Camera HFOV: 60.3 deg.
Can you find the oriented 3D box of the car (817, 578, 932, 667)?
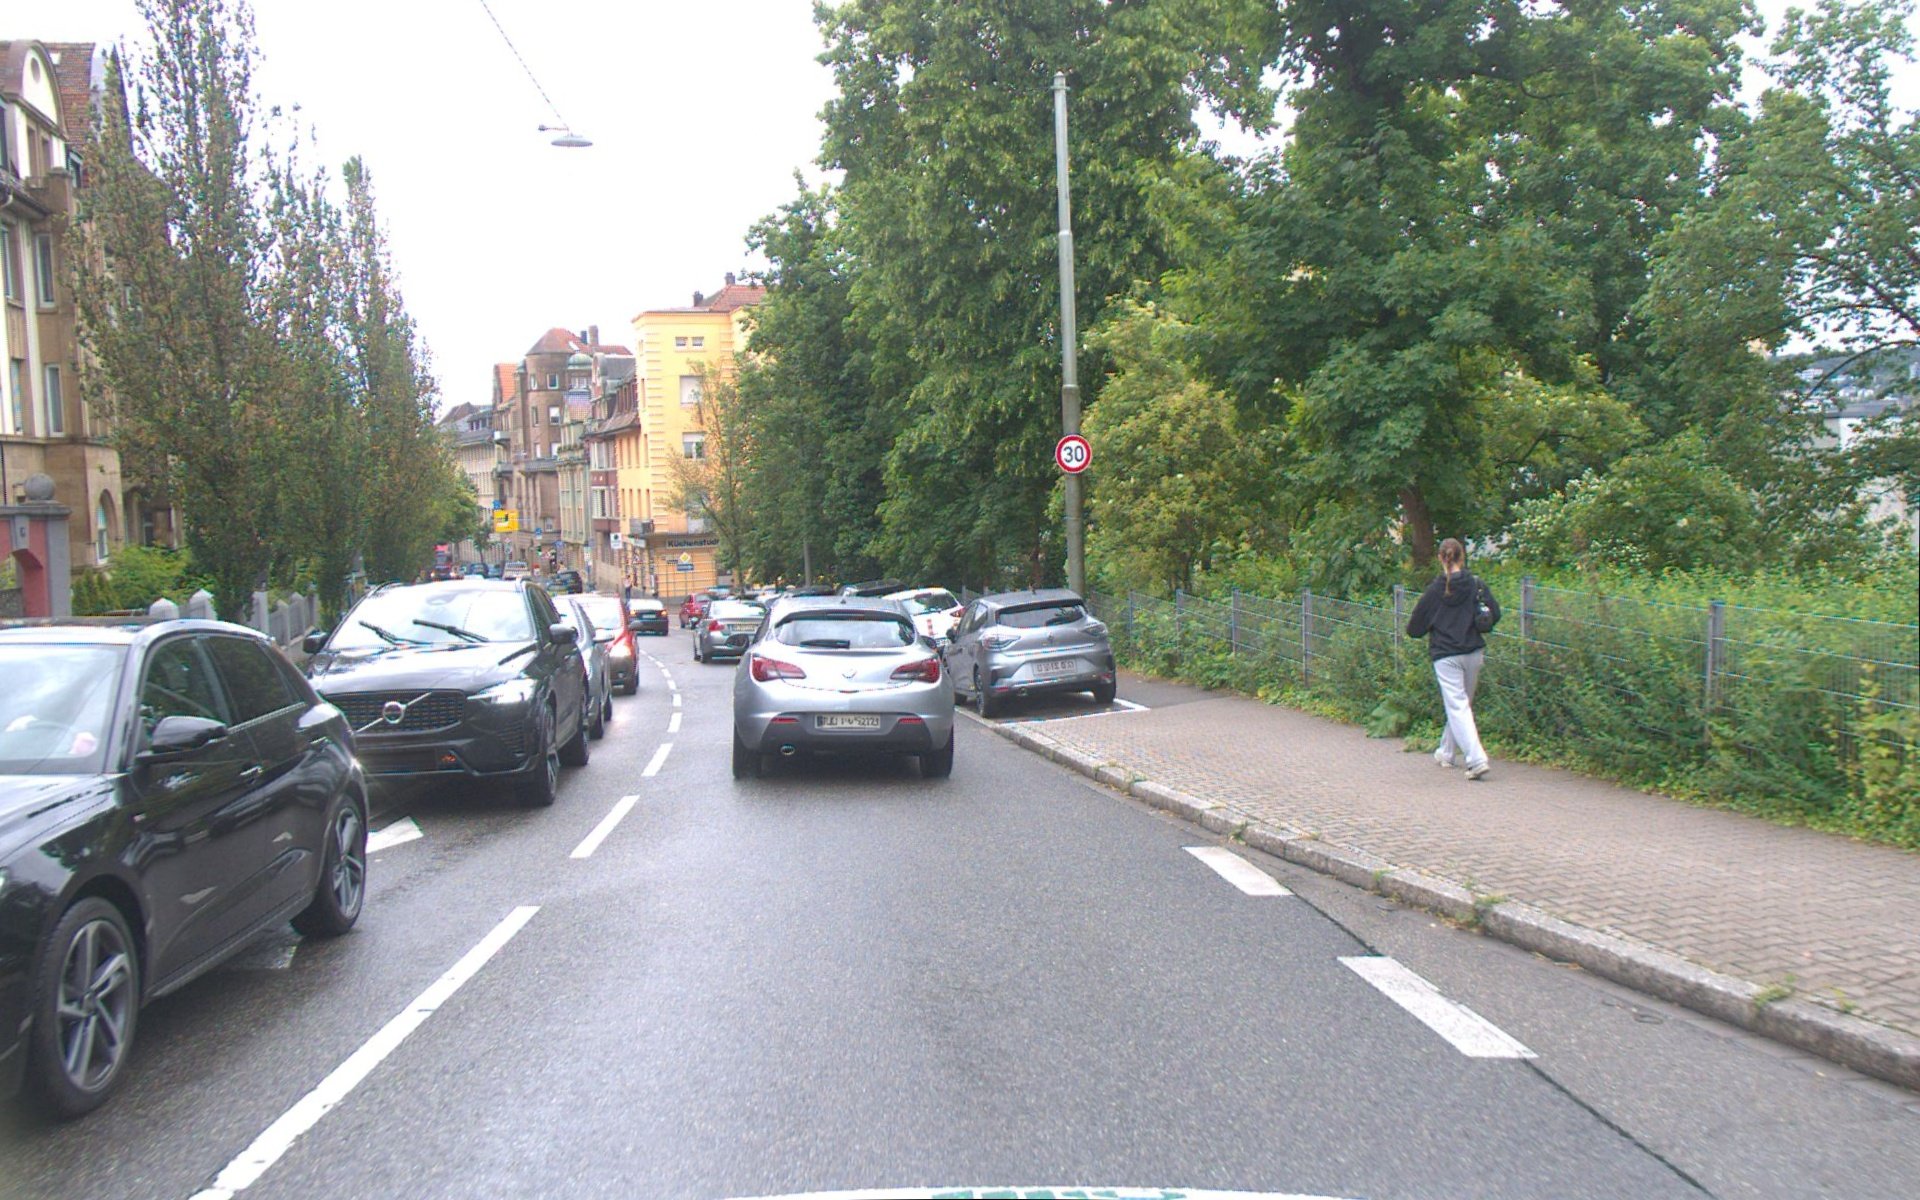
[{"bbox_3d":[-1.988,0.455,37.020,1.789,1.712,4.790,-5,1,-11],"label":"car"}]

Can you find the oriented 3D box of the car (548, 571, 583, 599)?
[{"bbox_3d":[-28.403,-1.081,119.095,1.965,1.717,3.980,-8,2,-18],"label":"car"}]

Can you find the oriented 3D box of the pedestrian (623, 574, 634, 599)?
[{"bbox_3d":[-20.803,-0.846,103.712,0.603,1.522,0.550,-2,3,-16],"label":"pedestrian"}]

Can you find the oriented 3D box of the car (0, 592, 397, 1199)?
[{"bbox_3d":[-3.376,0.756,5.705,1.780,1.454,3.995,-3,1,-6],"label":"car"}]

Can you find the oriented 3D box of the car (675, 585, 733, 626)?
[{"bbox_3d":[-11.026,0.243,71.088,1.787,1.492,3.981,-7,2,-17],"label":"car"}]

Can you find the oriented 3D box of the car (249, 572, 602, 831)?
[{"bbox_3d":[-3.956,0.633,13.038,1.840,1.602,4.577,-2,1,-8],"label":"car"}]

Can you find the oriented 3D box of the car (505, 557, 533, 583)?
[{"bbox_3d":[-35.017,-2.382,131.291,1.755,1.887,3.977,-2,0,-20],"label":"car"}]

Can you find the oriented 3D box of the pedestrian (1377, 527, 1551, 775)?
[{"bbox_3d":[3.571,0.339,11.783,0.751,1.633,0.964,-5,1,-7],"label":"pedestrian"}]

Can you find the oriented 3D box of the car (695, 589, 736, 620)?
[{"bbox_3d":[-12.985,0.206,88.101,1.740,1.454,3.784,-1,2,-3],"label":"car"}]

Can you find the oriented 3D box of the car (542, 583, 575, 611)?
[{"bbox_3d":[-24.143,-0.167,99.411,1.614,1.563,3.699,-3,1,-17],"label":"car"}]

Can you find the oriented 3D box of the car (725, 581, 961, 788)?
[{"bbox_3d":[-1.039,0.628,14.782,1.779,1.454,3.997,-2,2,-4],"label":"car"}]

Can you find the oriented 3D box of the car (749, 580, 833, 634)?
[{"bbox_3d":[-5.414,0.242,52.574,1.944,1.477,4.097,-5,1,-15],"label":"car"}]

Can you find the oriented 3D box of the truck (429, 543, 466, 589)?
[{"bbox_3d":[-52.076,-3.506,167.792,2.749,4.203,10.787,-3,4,-20],"label":"truck"}]

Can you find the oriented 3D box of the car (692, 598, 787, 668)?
[{"bbox_3d":[-5.068,0.718,37.624,1.746,1.455,3.772,-2,0,-14],"label":"car"}]

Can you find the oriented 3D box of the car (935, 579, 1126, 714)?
[{"bbox_3d":[0.807,0.535,21.349,1.620,1.428,3.805,-5,1,-9],"label":"car"}]

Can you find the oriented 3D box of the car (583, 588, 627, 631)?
[{"bbox_3d":[-17.291,0.455,80.484,1.615,1.718,3.698,-3,5,-19],"label":"car"}]

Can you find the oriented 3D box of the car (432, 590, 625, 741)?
[{"bbox_3d":[-4.847,0.657,19.071,1.741,1.523,4.253,-1,0,-9],"label":"car"}]

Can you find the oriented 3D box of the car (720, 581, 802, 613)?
[{"bbox_3d":[-9.801,-0.129,81.478,3.717,1.455,1.771,2,-2,-20],"label":"car"}]

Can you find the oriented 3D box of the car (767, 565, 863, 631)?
[{"bbox_3d":[-4.171,-0.037,46.944,1.943,1.637,4.468,-5,1,-14],"label":"car"}]

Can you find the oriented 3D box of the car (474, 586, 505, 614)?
[{"bbox_3d":[-30.309,-0.033,106.647,1.793,1.679,3.983,-4,1,-15],"label":"car"}]

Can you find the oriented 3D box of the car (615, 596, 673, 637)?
[{"bbox_3d":[-12.336,0.617,64.430,1.741,1.439,3.697,-1,1,-19],"label":"car"}]

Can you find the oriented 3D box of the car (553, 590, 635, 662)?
[{"bbox_3d":[-9.267,0.615,42.174,1.813,1.611,4.268,-4,1,-11],"label":"car"}]

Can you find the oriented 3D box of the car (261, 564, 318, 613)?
[{"bbox_3d":[-26.350,-0.431,65.075,1.762,1.679,4.172,-6,2,-20],"label":"car"}]

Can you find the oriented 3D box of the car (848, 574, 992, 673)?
[{"bbox_3d":[-0.830,0.434,31.265,1.786,1.520,3.986,-8,1,-13],"label":"car"}]

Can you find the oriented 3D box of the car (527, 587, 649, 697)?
[{"bbox_3d":[-6.005,0.615,27.029,1.624,1.595,3.992,-2,1,-9],"label":"car"}]

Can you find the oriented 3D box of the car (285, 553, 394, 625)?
[{"bbox_3d":[-15.022,-0.246,40.237,1.782,1.640,3.990,-1,0,-11],"label":"car"}]
